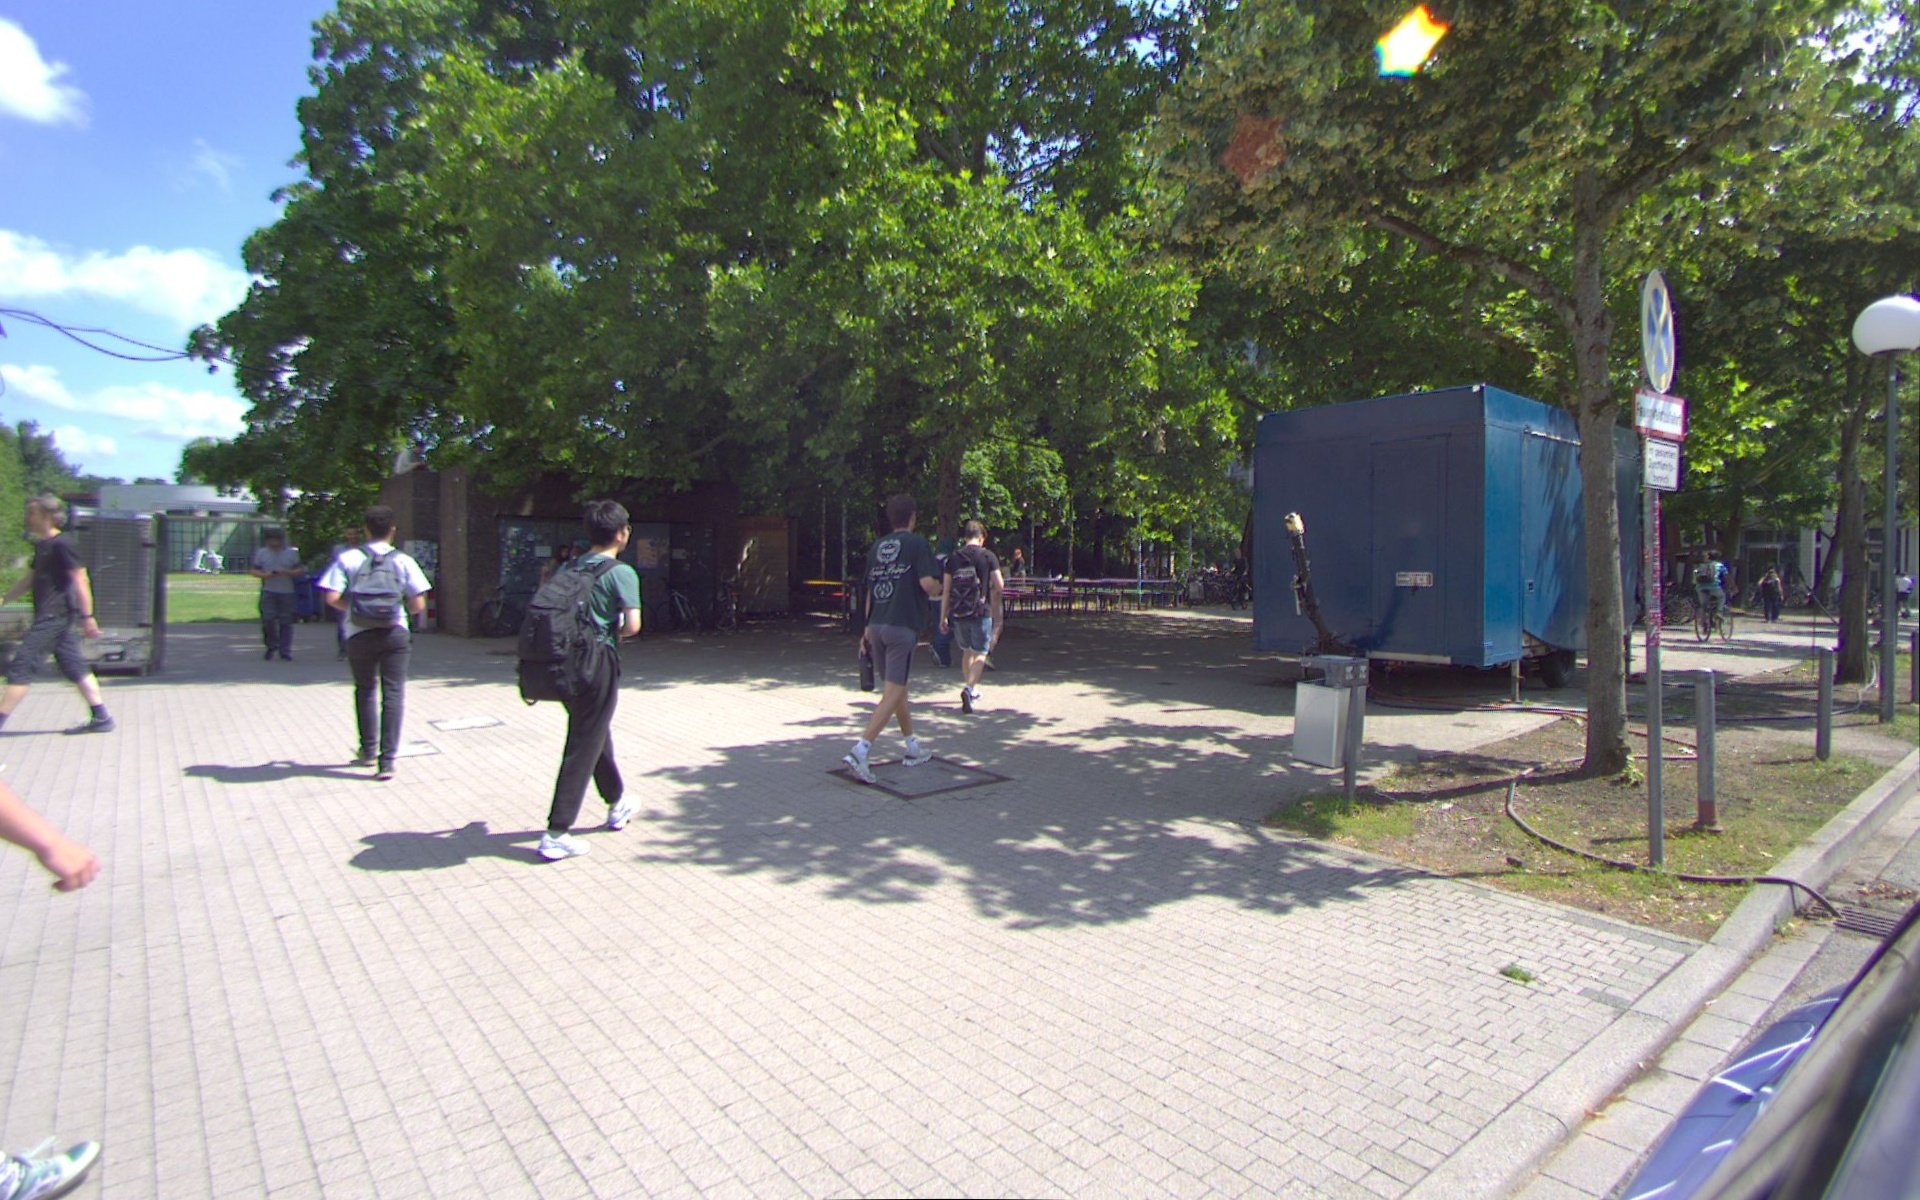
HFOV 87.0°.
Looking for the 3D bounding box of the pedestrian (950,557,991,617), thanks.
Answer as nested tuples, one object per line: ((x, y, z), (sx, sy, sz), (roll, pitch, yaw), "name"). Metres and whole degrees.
((0.256, -0.309, 23.840), (0.717, 1.363, 0.570), (0, 3, -44), "pedestrian")

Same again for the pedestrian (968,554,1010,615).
((0.664, -0.356, 23.422), (0.717, 1.363, 0.570), (0, 3, -44), "pedestrian")

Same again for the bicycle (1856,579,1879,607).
((39.130, -0.294, 43.644), (1.464, 1.155, 0.560), (-1, 4, -43), "bicycle")

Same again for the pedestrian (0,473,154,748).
((-6.699, 0.043, 7.407), (0.759, 1.889, 1.062), (3, 5, 38), "pedestrian")

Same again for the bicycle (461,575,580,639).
((-8.264, 0.110, 19.096), (1.991, 1.154, 0.574), (-1, 1, -40), "bicycle")

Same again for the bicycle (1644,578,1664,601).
((34.142, -0.518, 49.785), (0.566, 1.061, 1.670), (-2, -2, 42), "bicycle")

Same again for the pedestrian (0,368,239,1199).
((-2.056, 0.459, 1.911), (0.687, 1.760, 0.984), (1, 2, -1), "pedestrian")

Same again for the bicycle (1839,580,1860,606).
((44.069, -0.357, 50.156), (1.798, 1.257, 0.531), (-2, 2, -41), "bicycle")

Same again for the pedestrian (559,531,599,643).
((-6.578, -0.223, 17.480), (0.547, 1.906, 0.530), (0, 0, -10), "pedestrian")

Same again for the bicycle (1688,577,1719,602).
((35.393, -0.506, 48.155), (1.664, 1.139, 0.628), (2, 1, -35), "bicycle")

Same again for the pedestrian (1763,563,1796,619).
((24.506, -0.282, 30.256), (0.911, 1.590, 0.570), (-5, 5, -39), "pedestrian")

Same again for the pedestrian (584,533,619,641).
((-6.433, -0.238, 18.168), (0.518, 1.906, 0.449), (0, 0, -30), "pedestrian")

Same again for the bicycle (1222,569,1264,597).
((11.706, -0.709, 41.847), (1.592, 1.107, 0.475), (2, 2, 22), "bicycle")

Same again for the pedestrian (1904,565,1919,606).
((44.947, -0.667, 47.642), (0.675, 1.914, 0.686), (-2, 1, -43), "pedestrian")

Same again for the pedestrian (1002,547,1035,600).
((1.840, -0.833, 31.740), (0.715, 1.601, 0.660), (5, 3, 37), "pedestrian")

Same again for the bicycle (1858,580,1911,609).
((38.977, -0.234, 42.666), (1.750, 1.155, 0.607), (1, 3, -7), "bicycle")

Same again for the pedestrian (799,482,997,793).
((-0.398, 0.211, 6.827), (0.848, 1.883, 1.103), (1, 1, 33), "pedestrian")

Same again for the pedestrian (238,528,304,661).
((-9.465, -0.083, 13.934), (0.717, 1.760, 0.836), (0, 1, -33), "pedestrian")

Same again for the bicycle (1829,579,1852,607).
((38.670, -0.303, 44.463), (1.464, 1.155, 0.560), (1, 2, -43), "bicycle")

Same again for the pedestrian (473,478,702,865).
((-1.832, 0.305, 5.106), (0.691, 1.741, 0.992), (2, 2, 6), "pedestrian")

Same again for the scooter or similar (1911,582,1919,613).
((36.473, -0.077, 37.966), (1.333, 1.128, 0.498), (2, 1, -15), "scooter or similar")

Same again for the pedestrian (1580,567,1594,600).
((32.491, -0.851, 52.438), (0.929, 1.725, 0.427), (0, -1, -45), "pedestrian")

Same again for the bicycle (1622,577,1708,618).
((19.727, -0.089, 28.346), (1.940, 1.095, 0.399), (2, 1, 39), "bicycle")

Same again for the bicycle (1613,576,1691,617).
((19.287, -0.111, 28.226), (1.764, 1.095, 0.432), (2, 1, 39), "bicycle")

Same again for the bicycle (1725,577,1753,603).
((36.316, -0.456, 47.178), (1.664, 1.139, 0.482), (2, 1, -35), "bicycle")

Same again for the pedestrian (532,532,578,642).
((-7.157, -0.236, 17.900), (0.523, 1.905, 0.555), (2, 3, 22), "pedestrian")

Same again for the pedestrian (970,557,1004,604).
((0.771, -0.556, 28.887), (0.612, 1.286, 0.667), (0, 3, -44), "pedestrian")

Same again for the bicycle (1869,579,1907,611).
((35.337, -0.196, 38.561), (0.622, 1.097, 1.673), (-1, 3, 27), "bicycle")

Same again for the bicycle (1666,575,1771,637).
((14.977, 0.106, 19.980), (2.249, 1.137, 0.654), (0, 4, -26), "bicycle")

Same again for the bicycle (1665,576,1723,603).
((31.497, -0.456, 43.452), (1.896, 1.123, 0.630), (0, 2, 14), "bicycle")

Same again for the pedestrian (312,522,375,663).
((-8.770, -0.123, 14.387), (0.717, 1.905, 0.837), (1, 4, -32), "pedestrian")

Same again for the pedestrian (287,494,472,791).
((-3.758, 0.212, 6.540), (1.104, 1.737, 0.700), (3, 4, 41), "pedestrian")

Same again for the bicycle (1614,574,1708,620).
((18.735, -0.098, 27.075), (2.011, 1.181, 0.643), (2, 1, 39), "bicycle")

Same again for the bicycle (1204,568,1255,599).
((9.916, -0.618, 37.244), (1.735, 1.107, 0.475), (2, 2, 25), "bicycle")

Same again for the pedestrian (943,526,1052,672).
((0.443, -0.026, 12.084), (0.932, 1.658, 0.877), (0, 1, -40), "pedestrian")

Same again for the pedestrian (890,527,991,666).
((-0.250, -0.056, 12.759), (0.932, 1.658, 0.877), (-1, 1, -40), "pedestrian")

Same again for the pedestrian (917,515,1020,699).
((0.094, 0.050, 9.431), (0.836, 1.615, 0.829), (2, 1, 7), "pedestrian")
